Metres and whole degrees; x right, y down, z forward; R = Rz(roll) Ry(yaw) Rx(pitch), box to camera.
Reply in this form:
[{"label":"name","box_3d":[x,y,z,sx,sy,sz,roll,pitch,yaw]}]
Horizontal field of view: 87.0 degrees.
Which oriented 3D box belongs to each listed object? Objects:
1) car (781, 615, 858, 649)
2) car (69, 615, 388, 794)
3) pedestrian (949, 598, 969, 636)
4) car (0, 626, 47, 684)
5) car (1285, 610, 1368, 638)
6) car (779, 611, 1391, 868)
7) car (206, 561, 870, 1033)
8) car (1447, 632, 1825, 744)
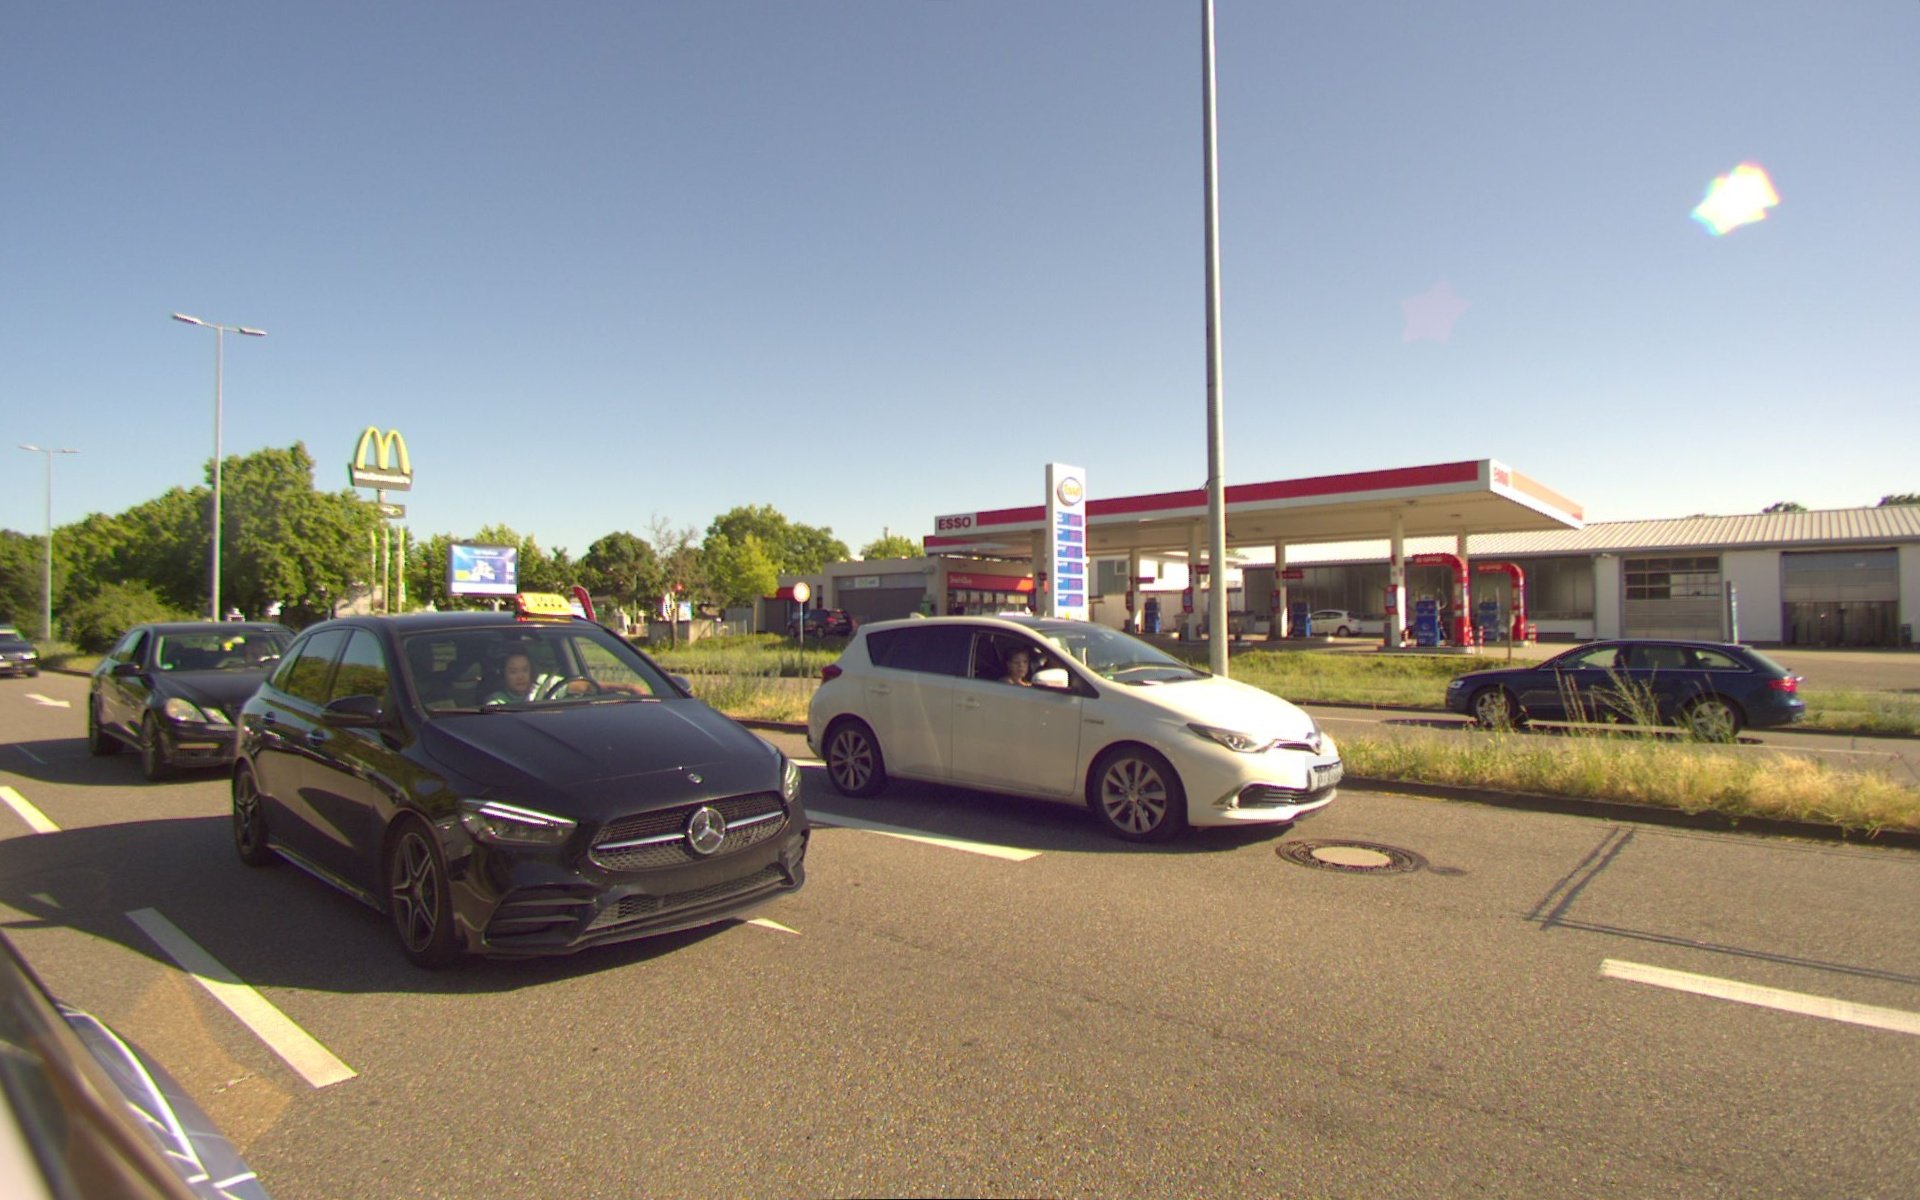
[{"label":"car","box_3d":[-7.607,1.721,54.732,4.117,1.783,1.972,-2,-2,43]},{"label":"car","box_3d":[-7.944,0.951,10.827,4.401,1.535,1.838,-2,-2,41]},{"label":"pedestrian","box_3d":[-0.052,0.937,55.084,0.840,2.029,0.694,-2,-2,41]},{"label":"car","box_3d":[-26.723,1.484,27.871,4.401,1.492,1.838,-2,-2,41]},{"label":"car","box_3d":[19.845,1.316,54.870,3.844,1.450,1.730,-2,-2,39]},{"label":"car","box_3d":[0.754,0.839,7.812,4.399,1.440,1.839,-2,-2,39]},{"label":"car","box_3d":[-2.580,0.737,5.605,4.187,1.638,1.780,-2,-2,42]},{"label":"car","box_3d":[10.195,1.253,15.536,4.603,1.457,1.884,-1,-4,40]}]
